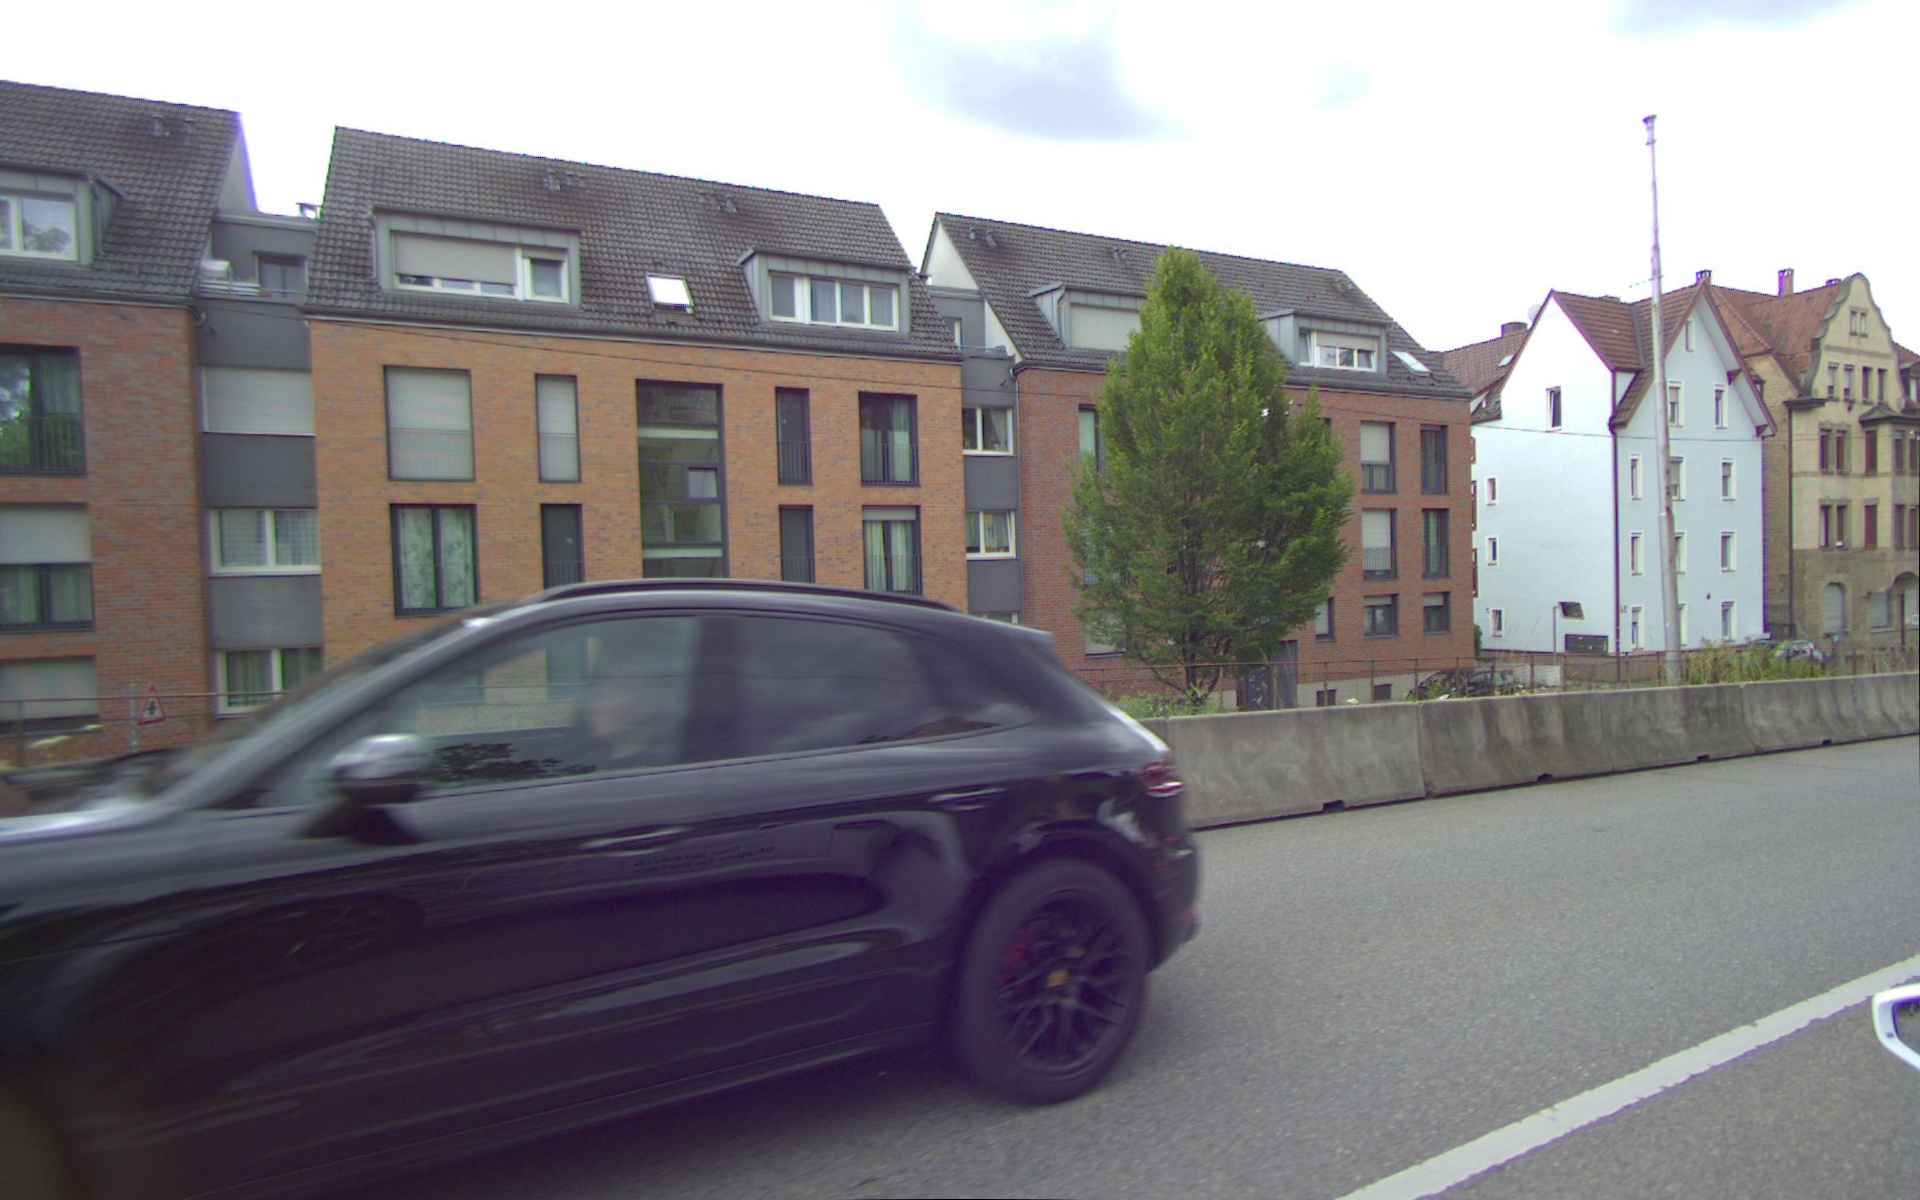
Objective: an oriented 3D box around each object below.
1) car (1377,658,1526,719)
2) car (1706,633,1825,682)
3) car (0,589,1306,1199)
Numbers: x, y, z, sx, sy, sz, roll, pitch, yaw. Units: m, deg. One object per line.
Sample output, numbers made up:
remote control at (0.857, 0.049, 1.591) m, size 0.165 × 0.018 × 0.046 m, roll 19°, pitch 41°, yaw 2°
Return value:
car at (14.800, 2.616, 30.240) m, size 4.157 × 1.629 × 1.790 m, roll 0°, pitch -2°, yaw -25°
car at (29.408, 2.064, 36.657) m, size 3.944 × 1.530 × 1.789 m, roll -1°, pitch 0°, yaw -24°
car at (-1.131, 0.807, 3.345) m, size 4.323 × 1.595 × 1.973 m, roll 0°, pitch -2°, yaw -30°
